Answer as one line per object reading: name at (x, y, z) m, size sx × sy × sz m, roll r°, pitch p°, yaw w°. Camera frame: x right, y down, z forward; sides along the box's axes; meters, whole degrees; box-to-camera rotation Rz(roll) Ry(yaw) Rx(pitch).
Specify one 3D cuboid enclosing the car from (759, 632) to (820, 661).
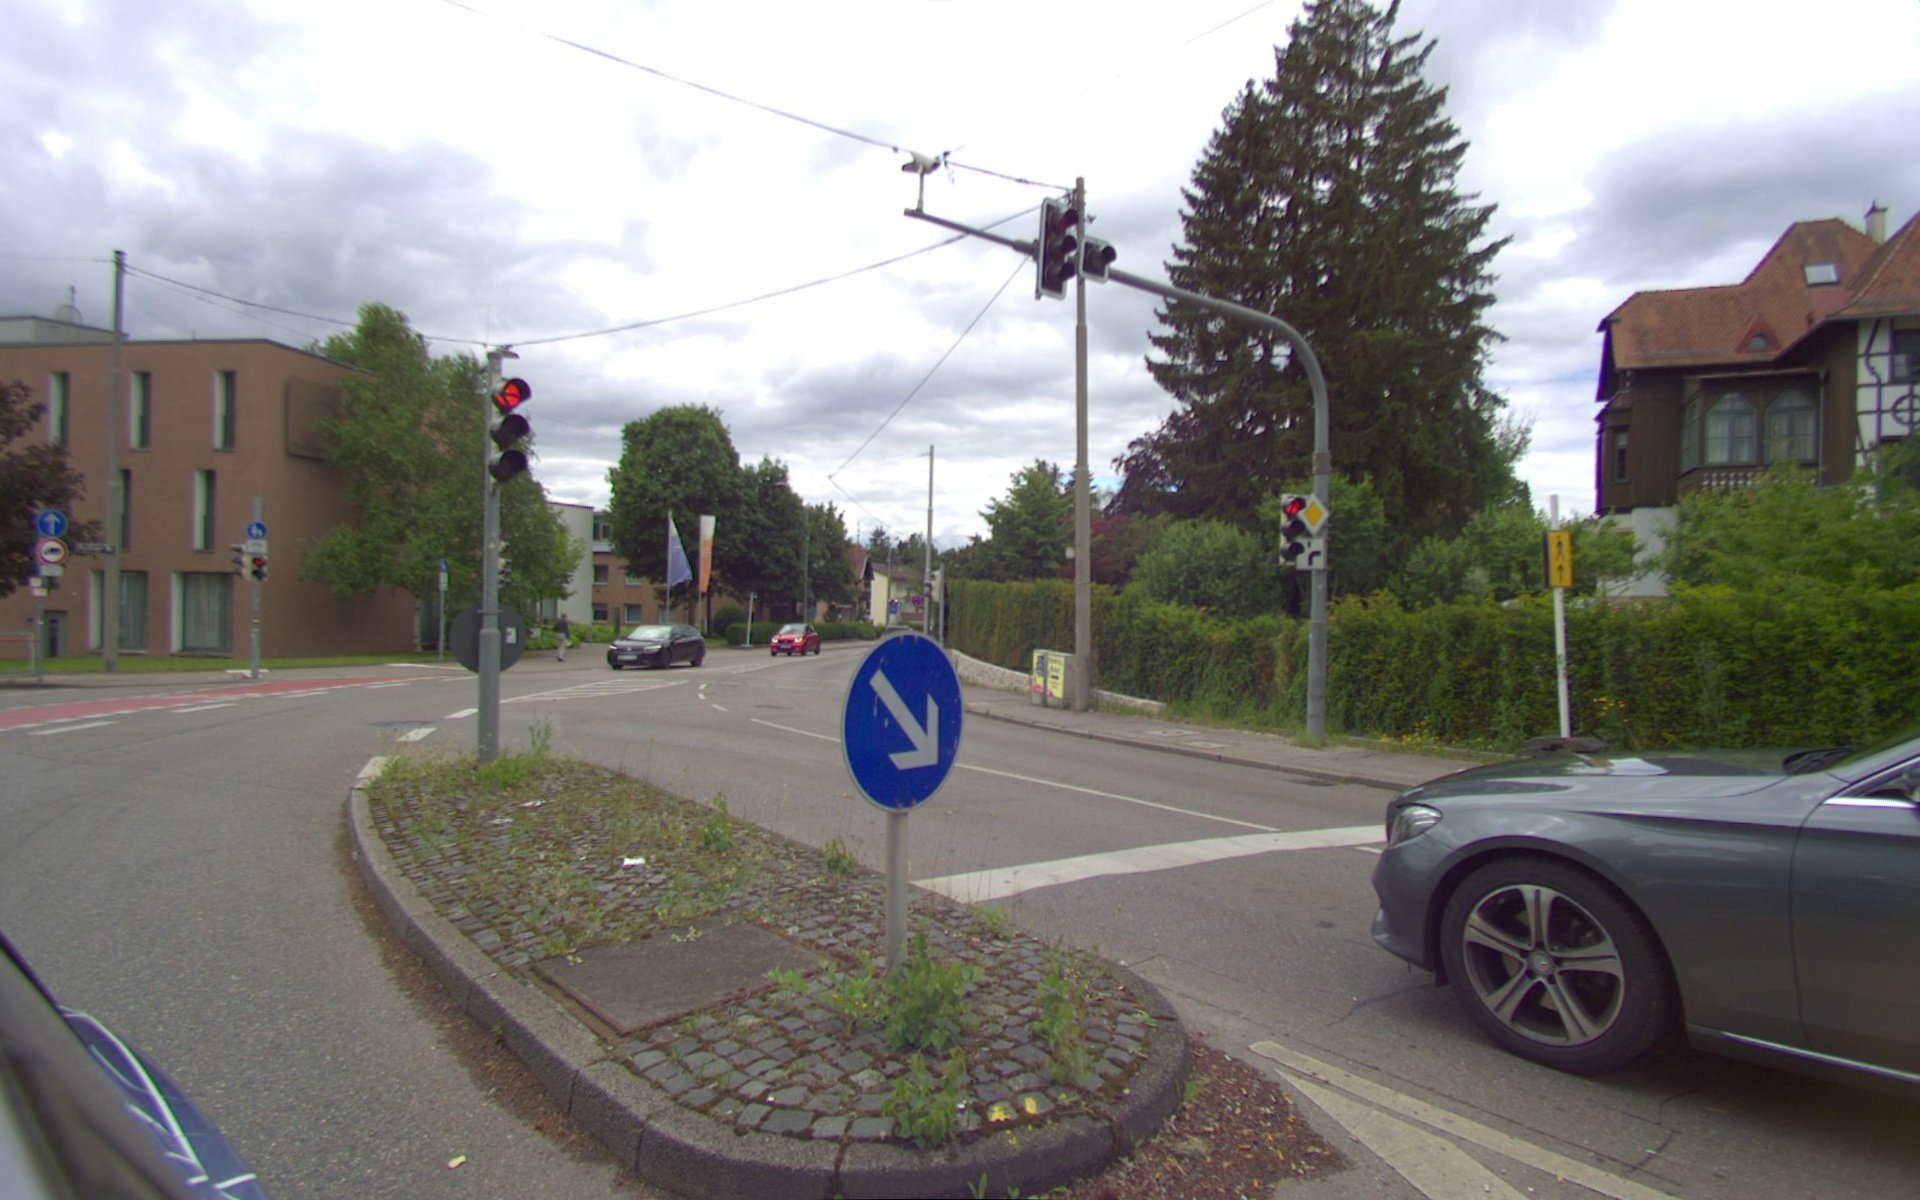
car at (-8.117, 2.211, 48.538) m, size 1.974 × 1.209 × 3.995 m, roll 0°, pitch 0°, yaw 4°

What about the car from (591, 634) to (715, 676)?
car at (-9.932, 1.747, 33.037) m, size 1.983 × 1.254 × 3.976 m, roll 0°, pitch -2°, yaw 18°

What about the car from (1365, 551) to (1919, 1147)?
car at (3.670, 0.625, 2.415) m, size 1.802 × 1.496 × 4.757 m, roll 2°, pitch -2°, yaw -38°
